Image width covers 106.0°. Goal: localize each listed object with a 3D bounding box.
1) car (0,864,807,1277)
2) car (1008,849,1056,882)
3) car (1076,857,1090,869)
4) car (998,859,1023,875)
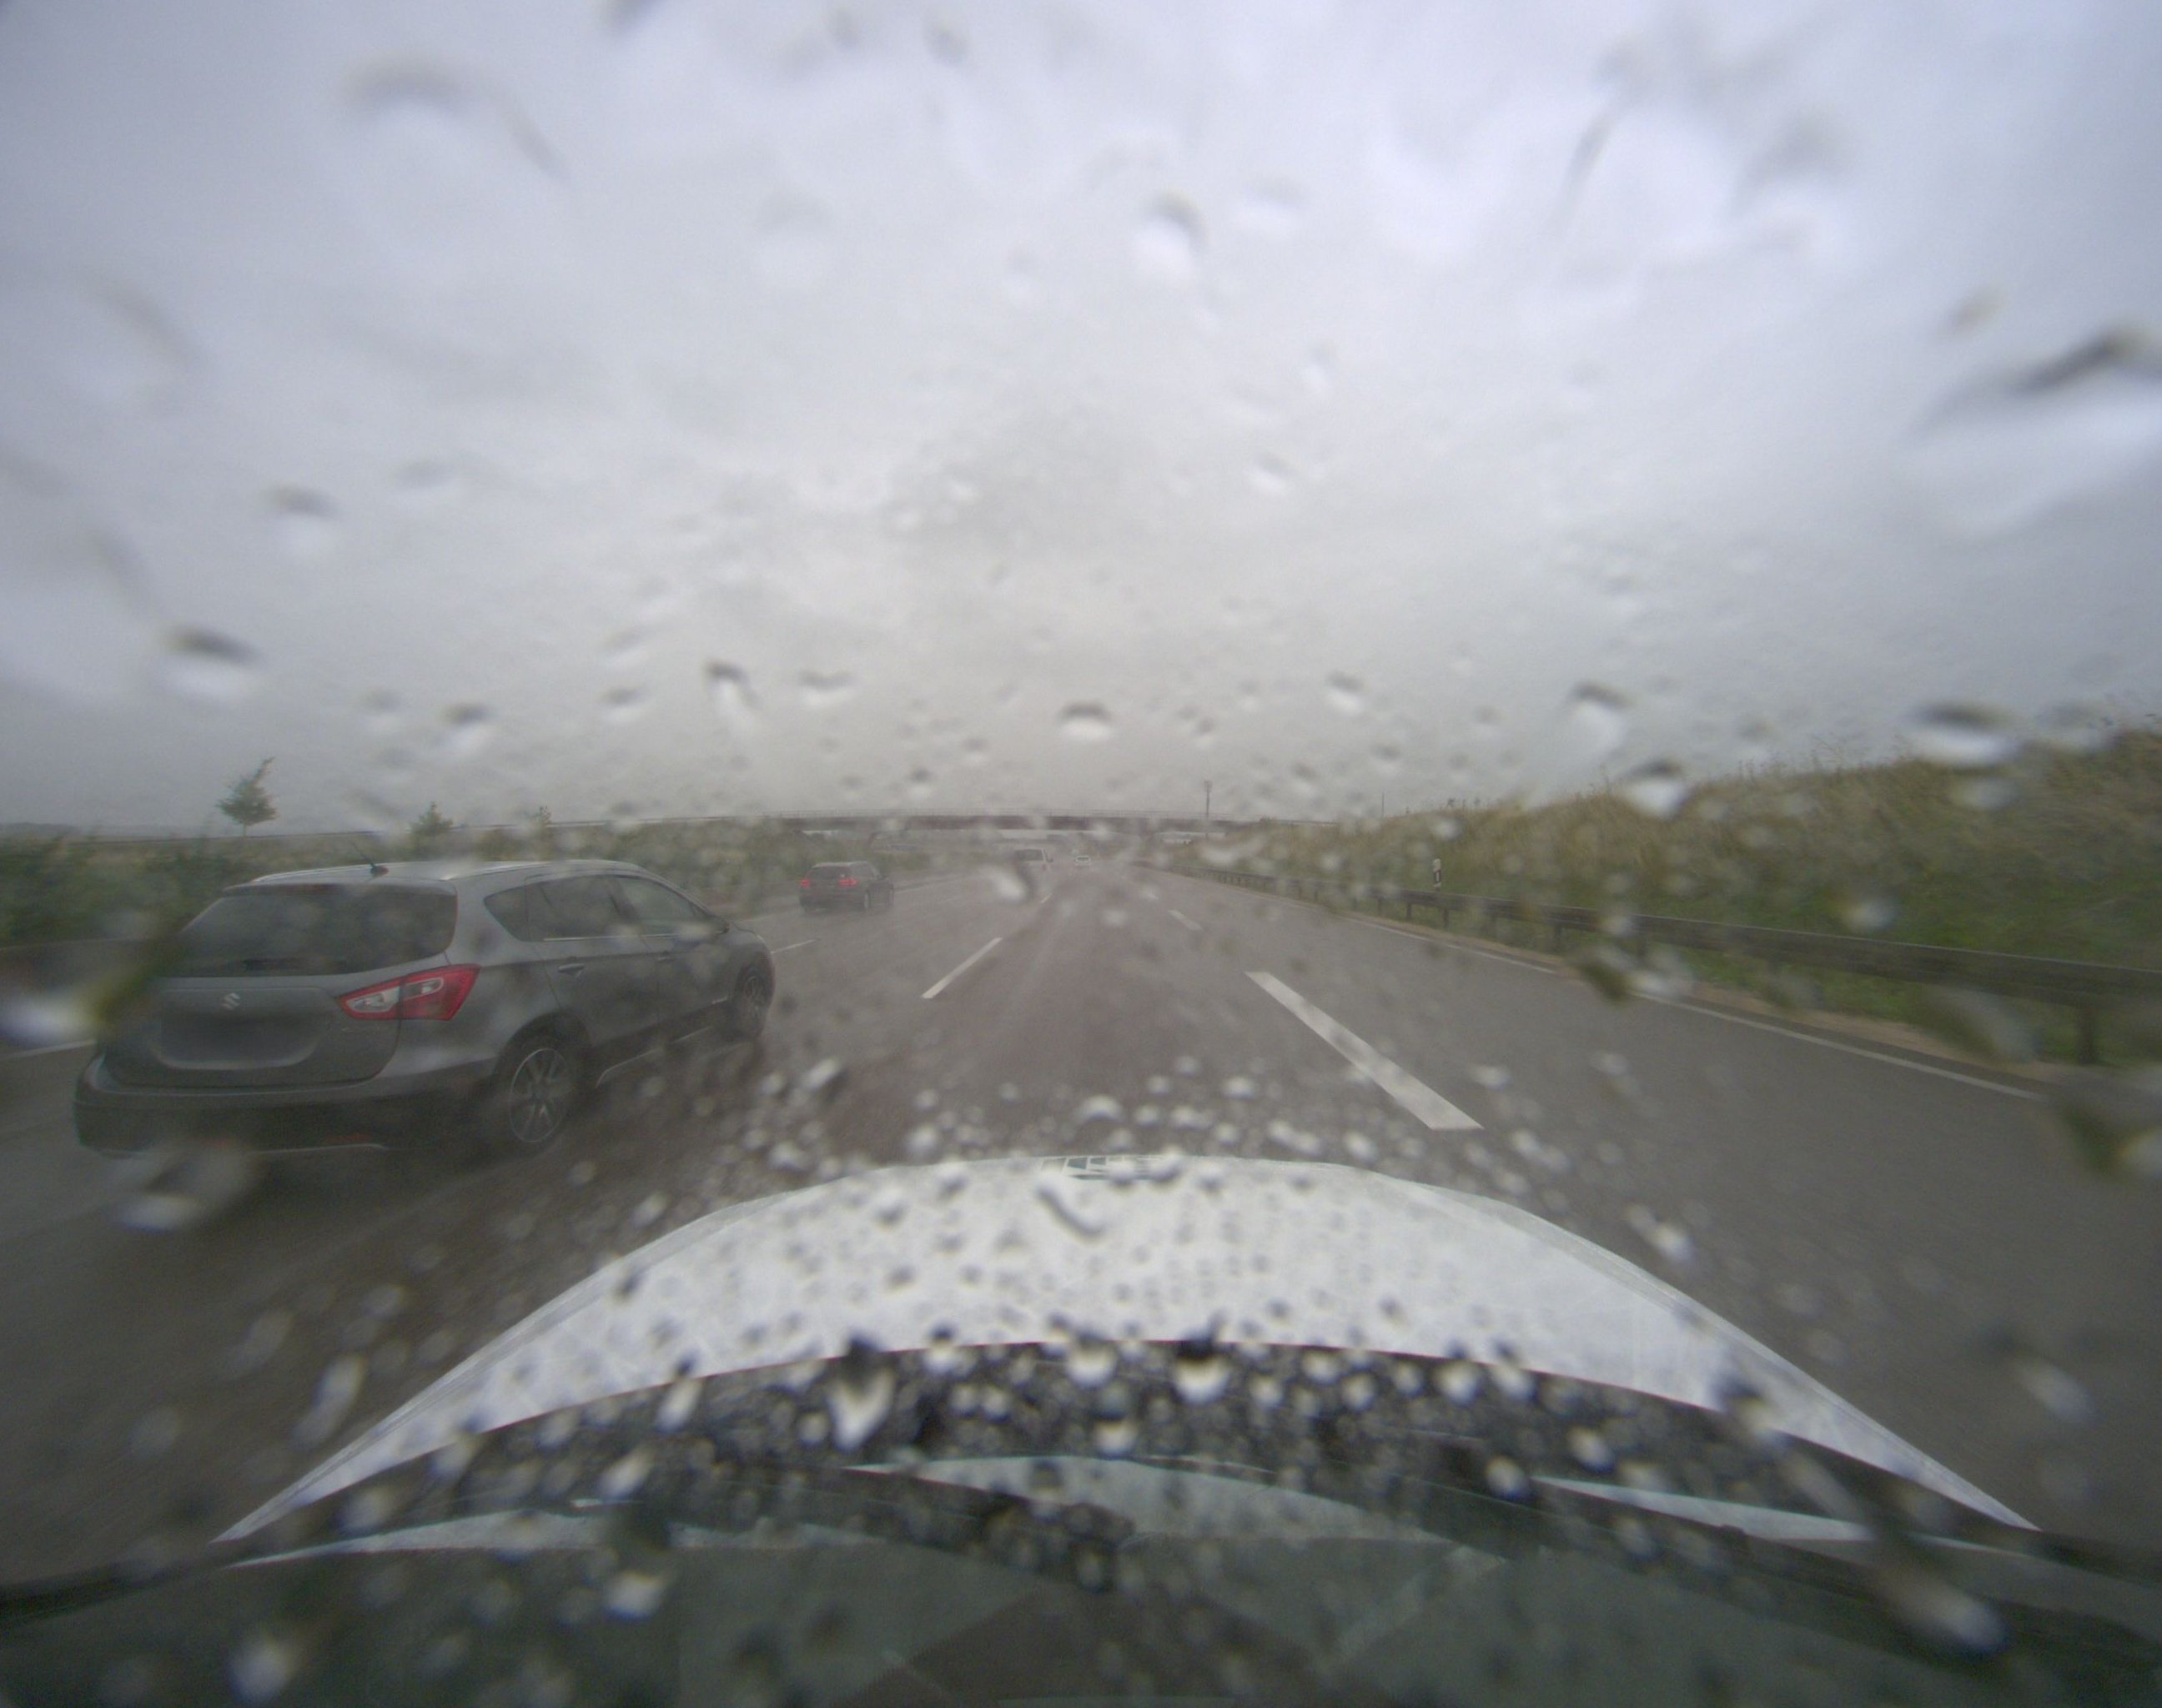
[{"bbox_3d":[-3.604,0.859,5.498,1.840,1.513,4.756,-1,0,1],"label":"car"},{"bbox_3d":[-2.464,0.562,41.707,1.889,1.585,4.005,0,0,4],"label":"car"},{"bbox_3d":[0.214,0.874,82.617,1.463,1.208,2.991,-1,0,0],"label":"car"},{"bbox_3d":[-5.812,1.033,67.582,1.460,1.257,3.345,-1,0,5],"label":"car"}]
